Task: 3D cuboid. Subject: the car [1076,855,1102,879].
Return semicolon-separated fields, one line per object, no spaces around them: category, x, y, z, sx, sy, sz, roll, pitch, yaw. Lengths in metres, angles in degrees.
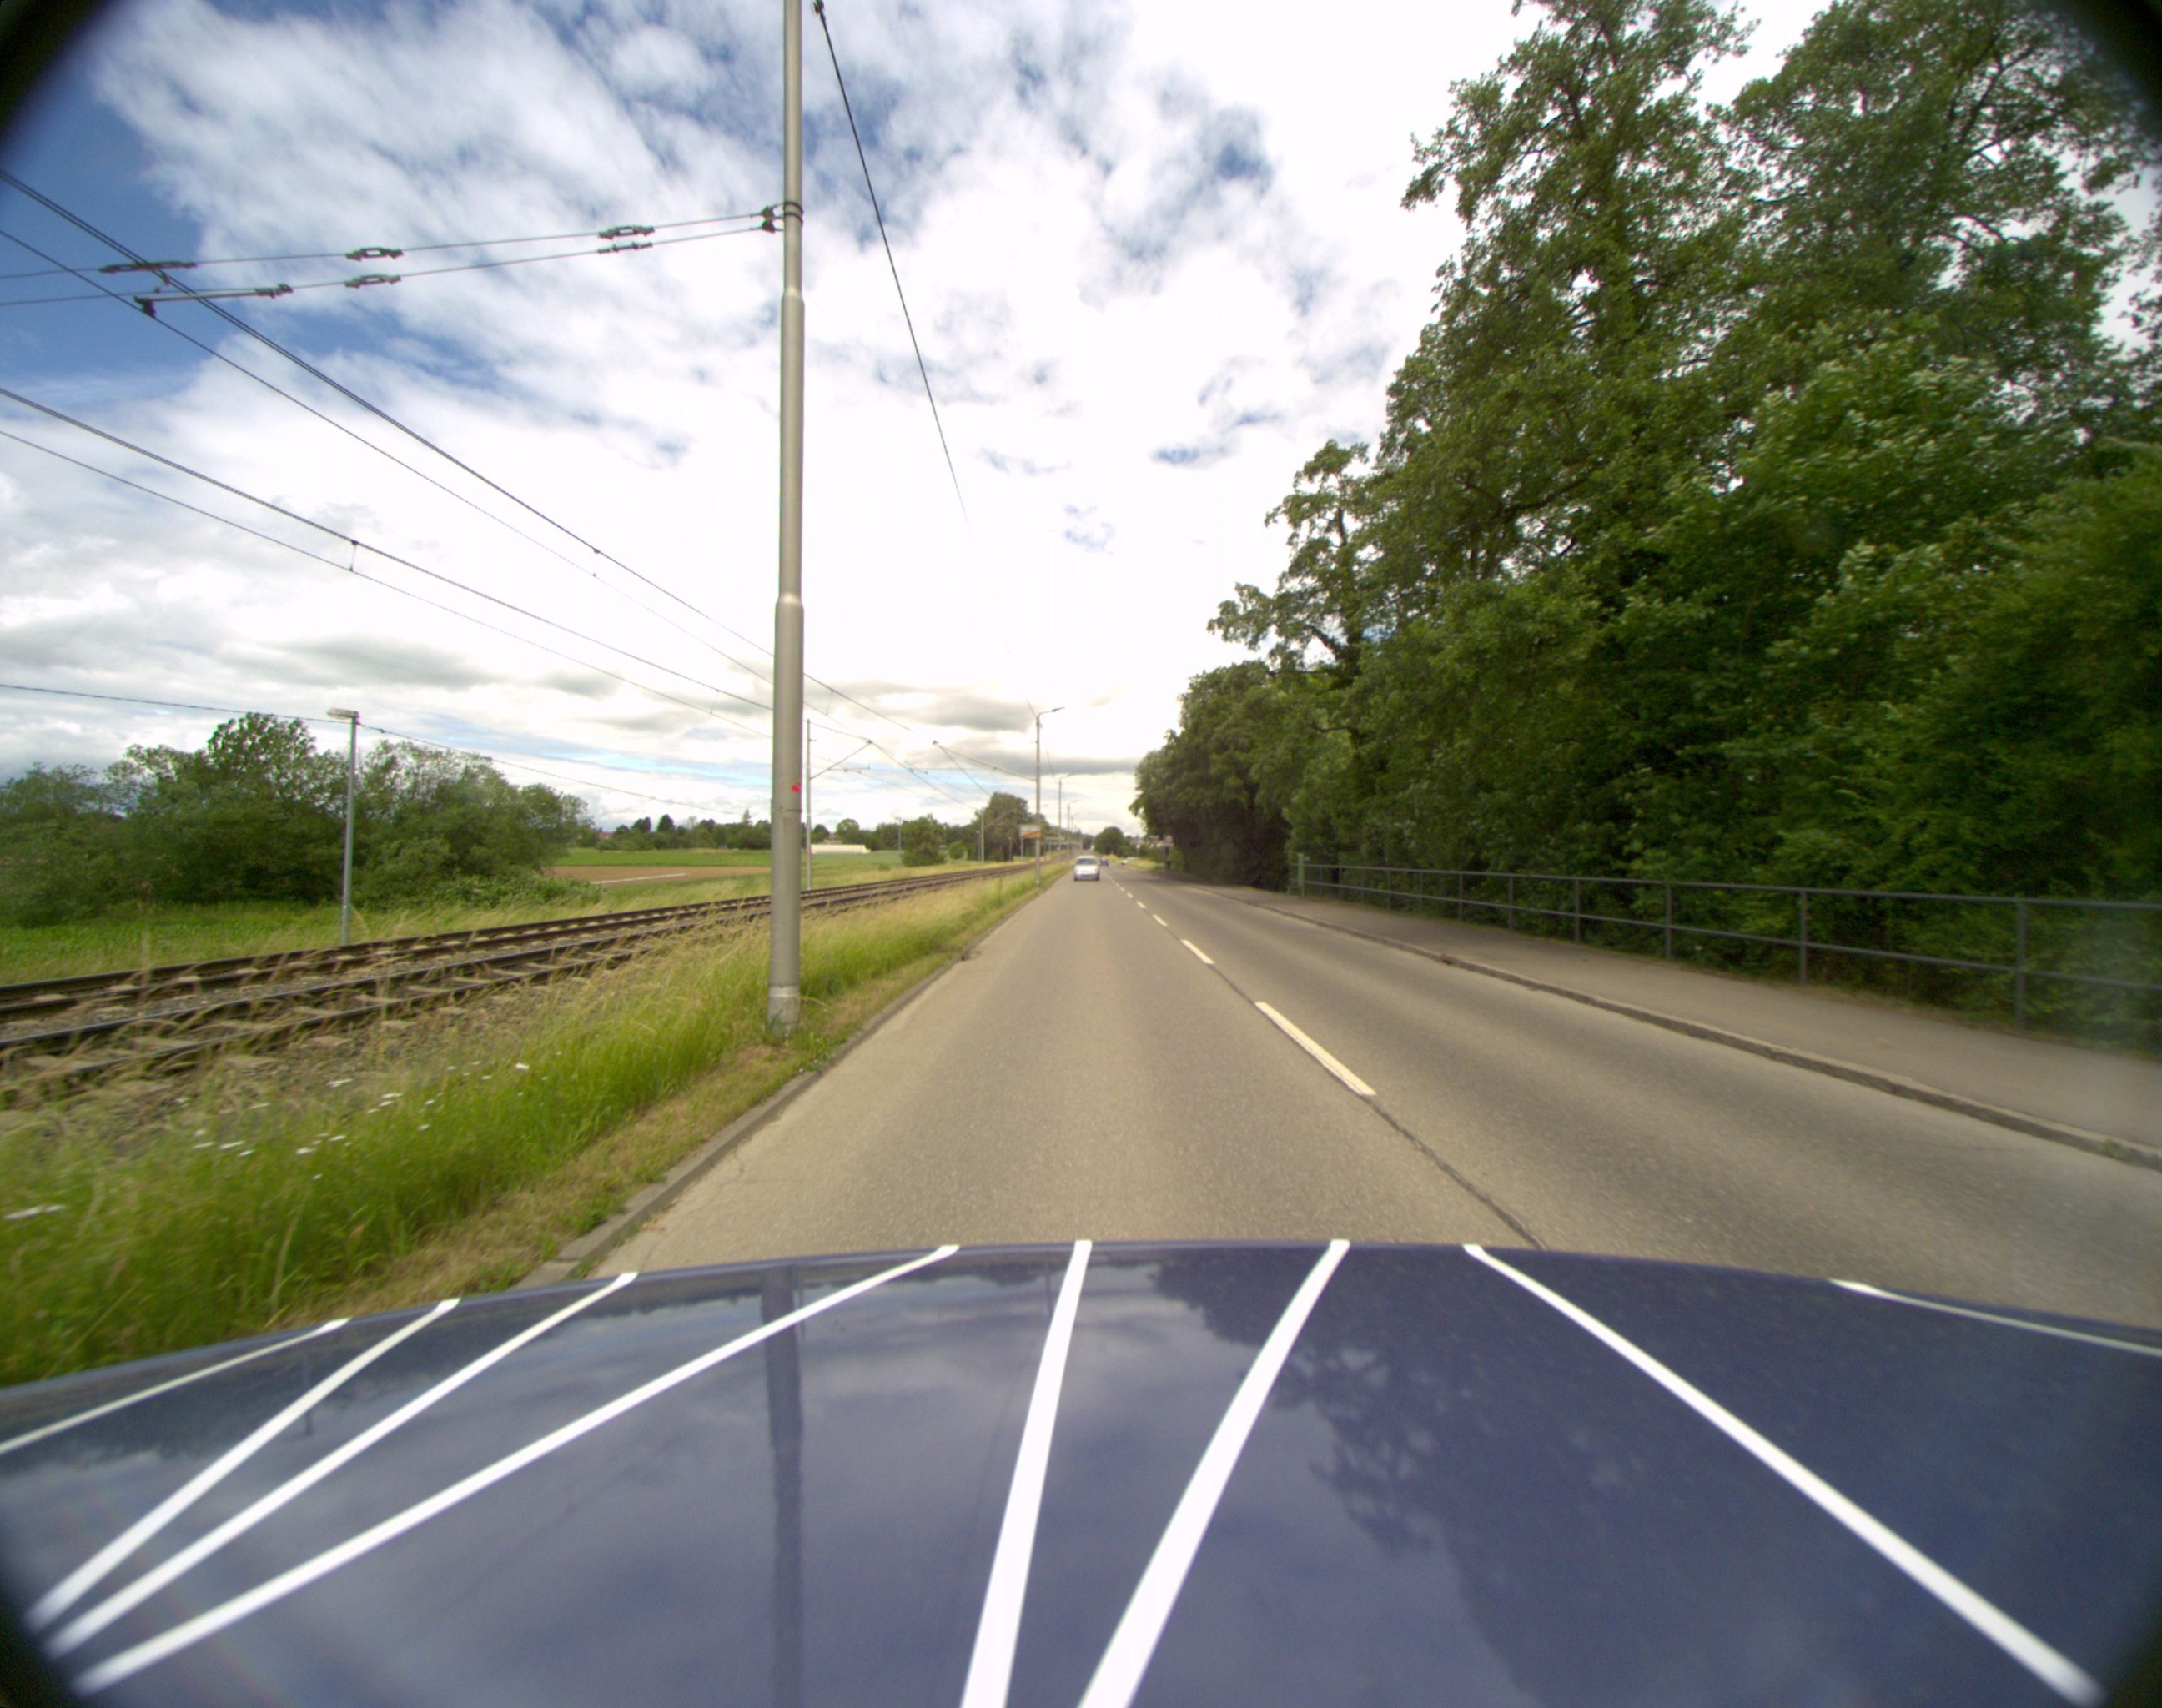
car;0.555;0.840;50.709;1.643;1.510;3.868;-1;1;1

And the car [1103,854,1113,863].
car;4.846;0.721;136.129;1.711;1.519;3.824;2;1;1

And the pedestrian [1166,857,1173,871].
pedestrian;10.191;1.182;87.634;0.706;1.584;0.707;0;-1;11
